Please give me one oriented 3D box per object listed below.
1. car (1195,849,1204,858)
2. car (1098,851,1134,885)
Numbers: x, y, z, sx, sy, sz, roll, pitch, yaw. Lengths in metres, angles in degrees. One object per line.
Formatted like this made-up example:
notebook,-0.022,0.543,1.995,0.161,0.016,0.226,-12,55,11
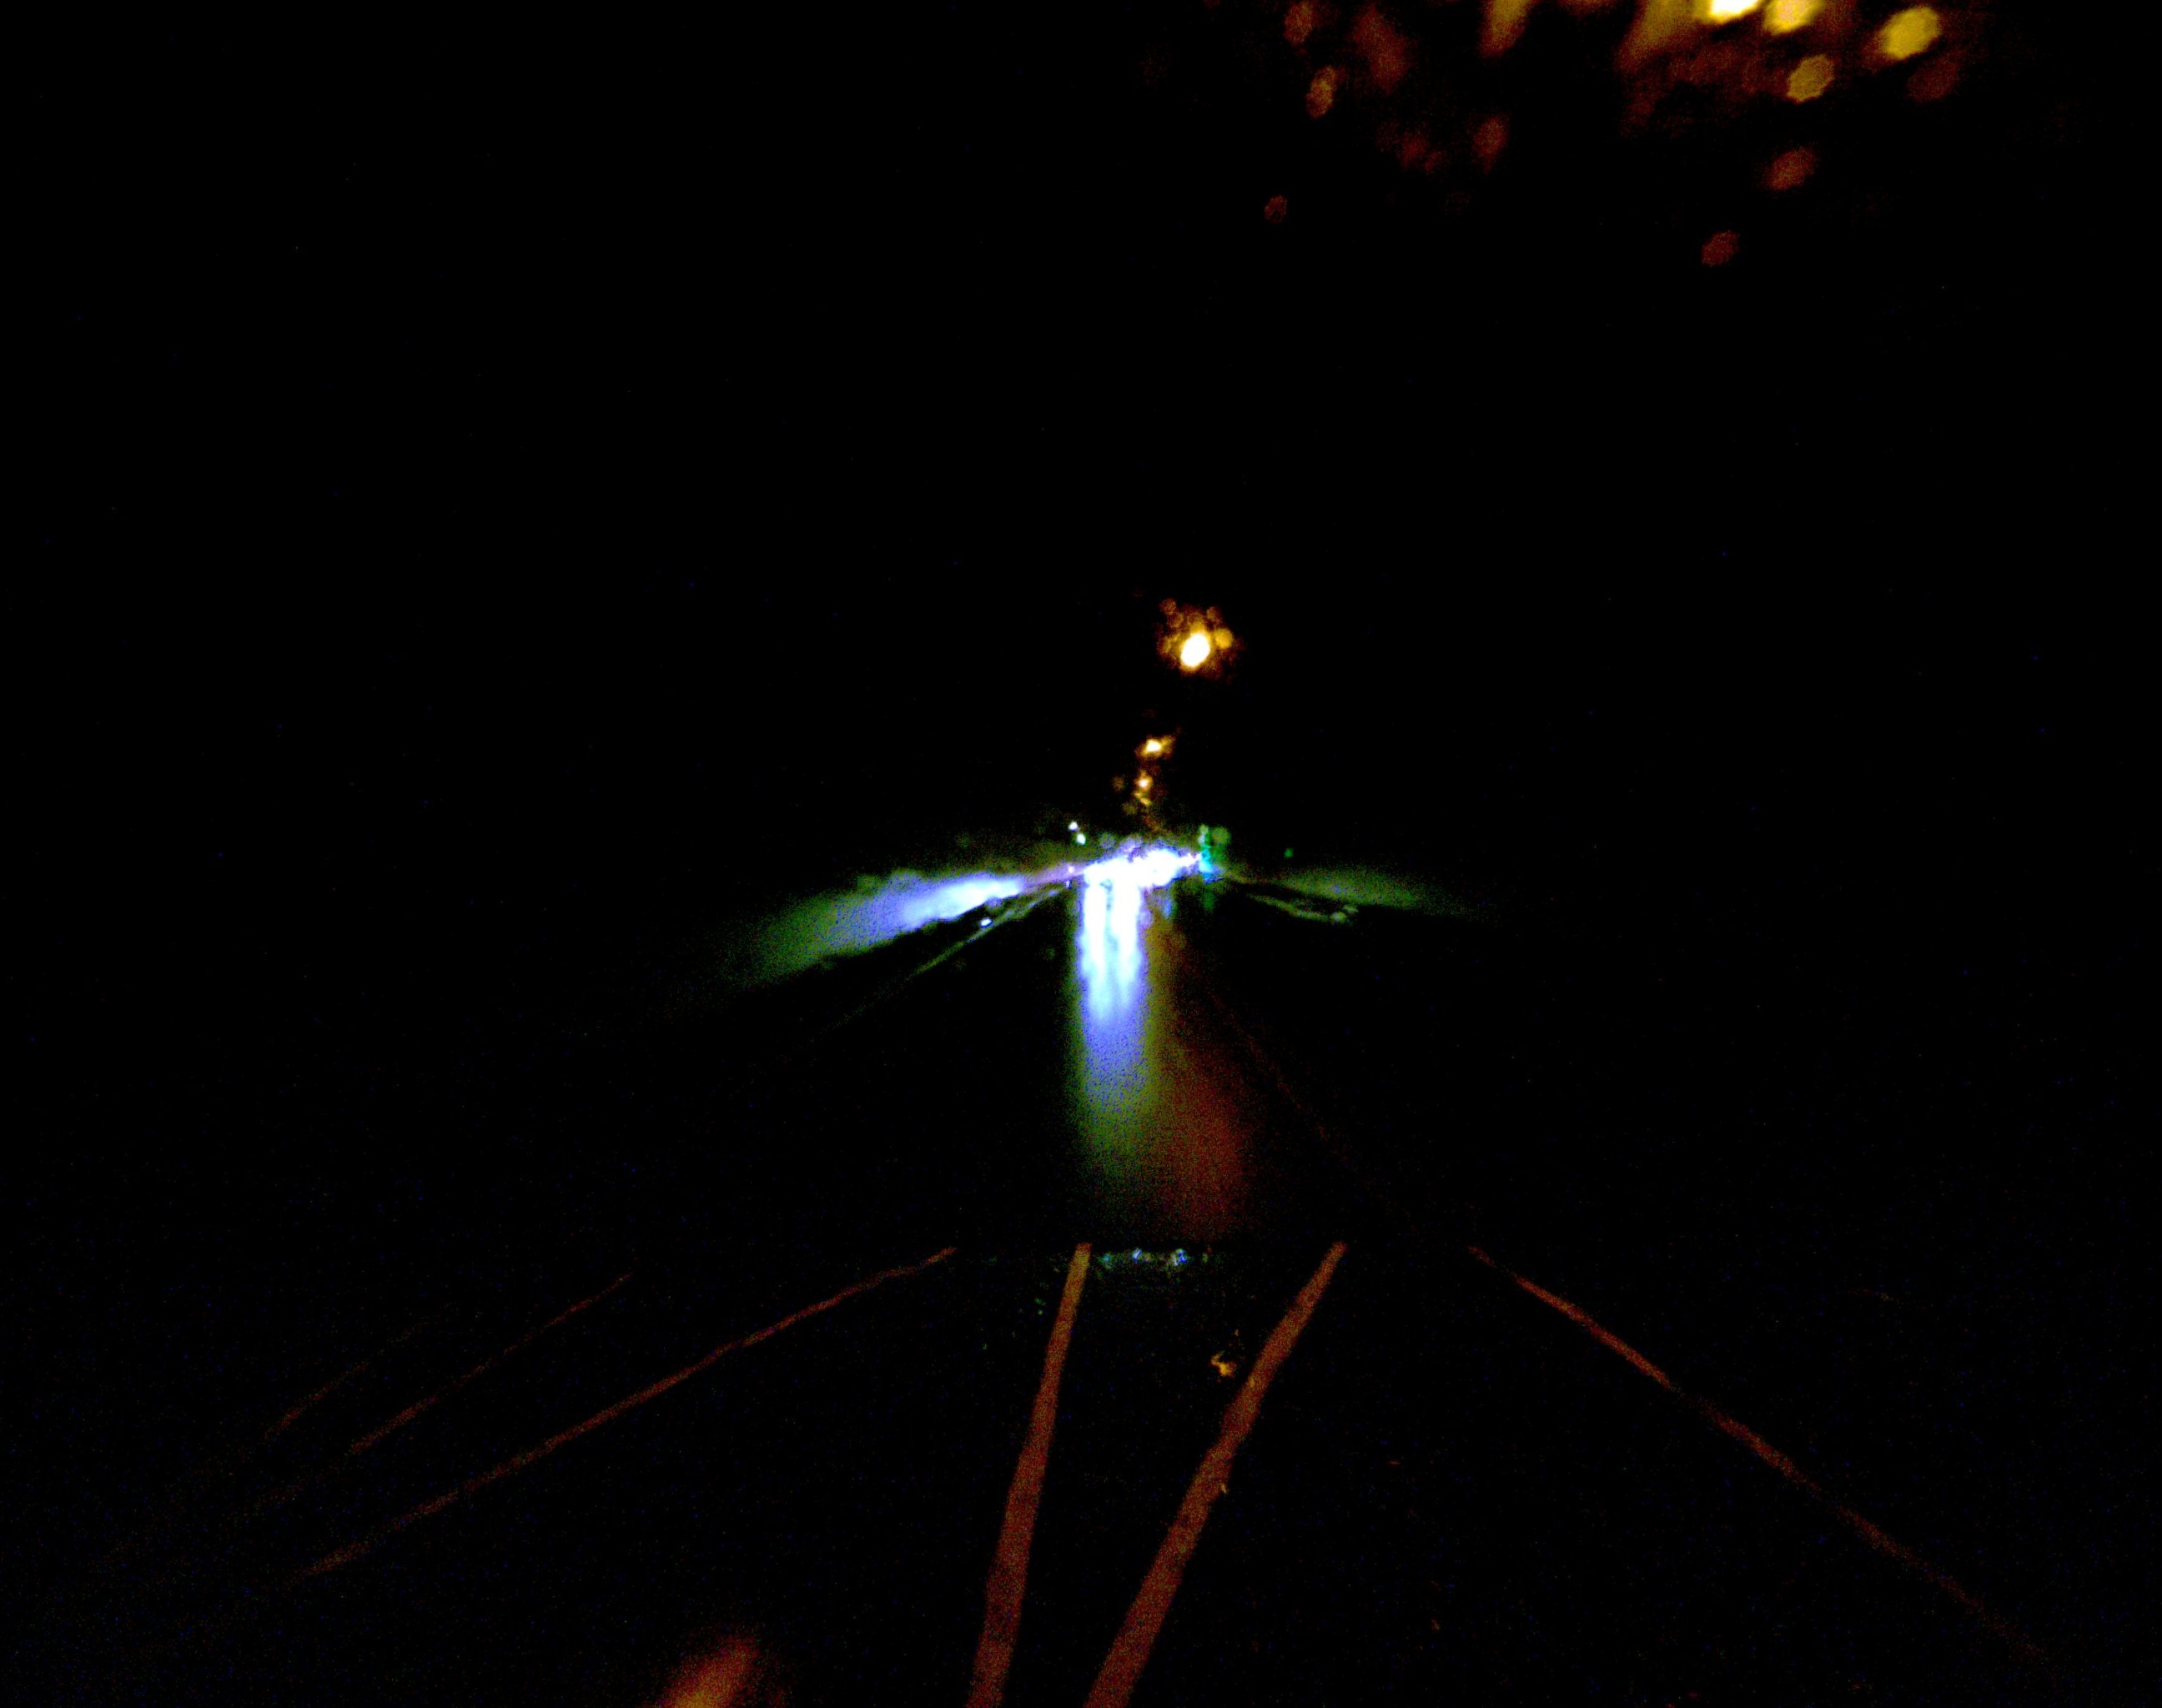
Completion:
car,25.035,-0.126,160.671,1.634,1.640,3.777,-2,0,8
car,1.866,0.701,40.837,1.730,1.595,4.000,-4,1,3
